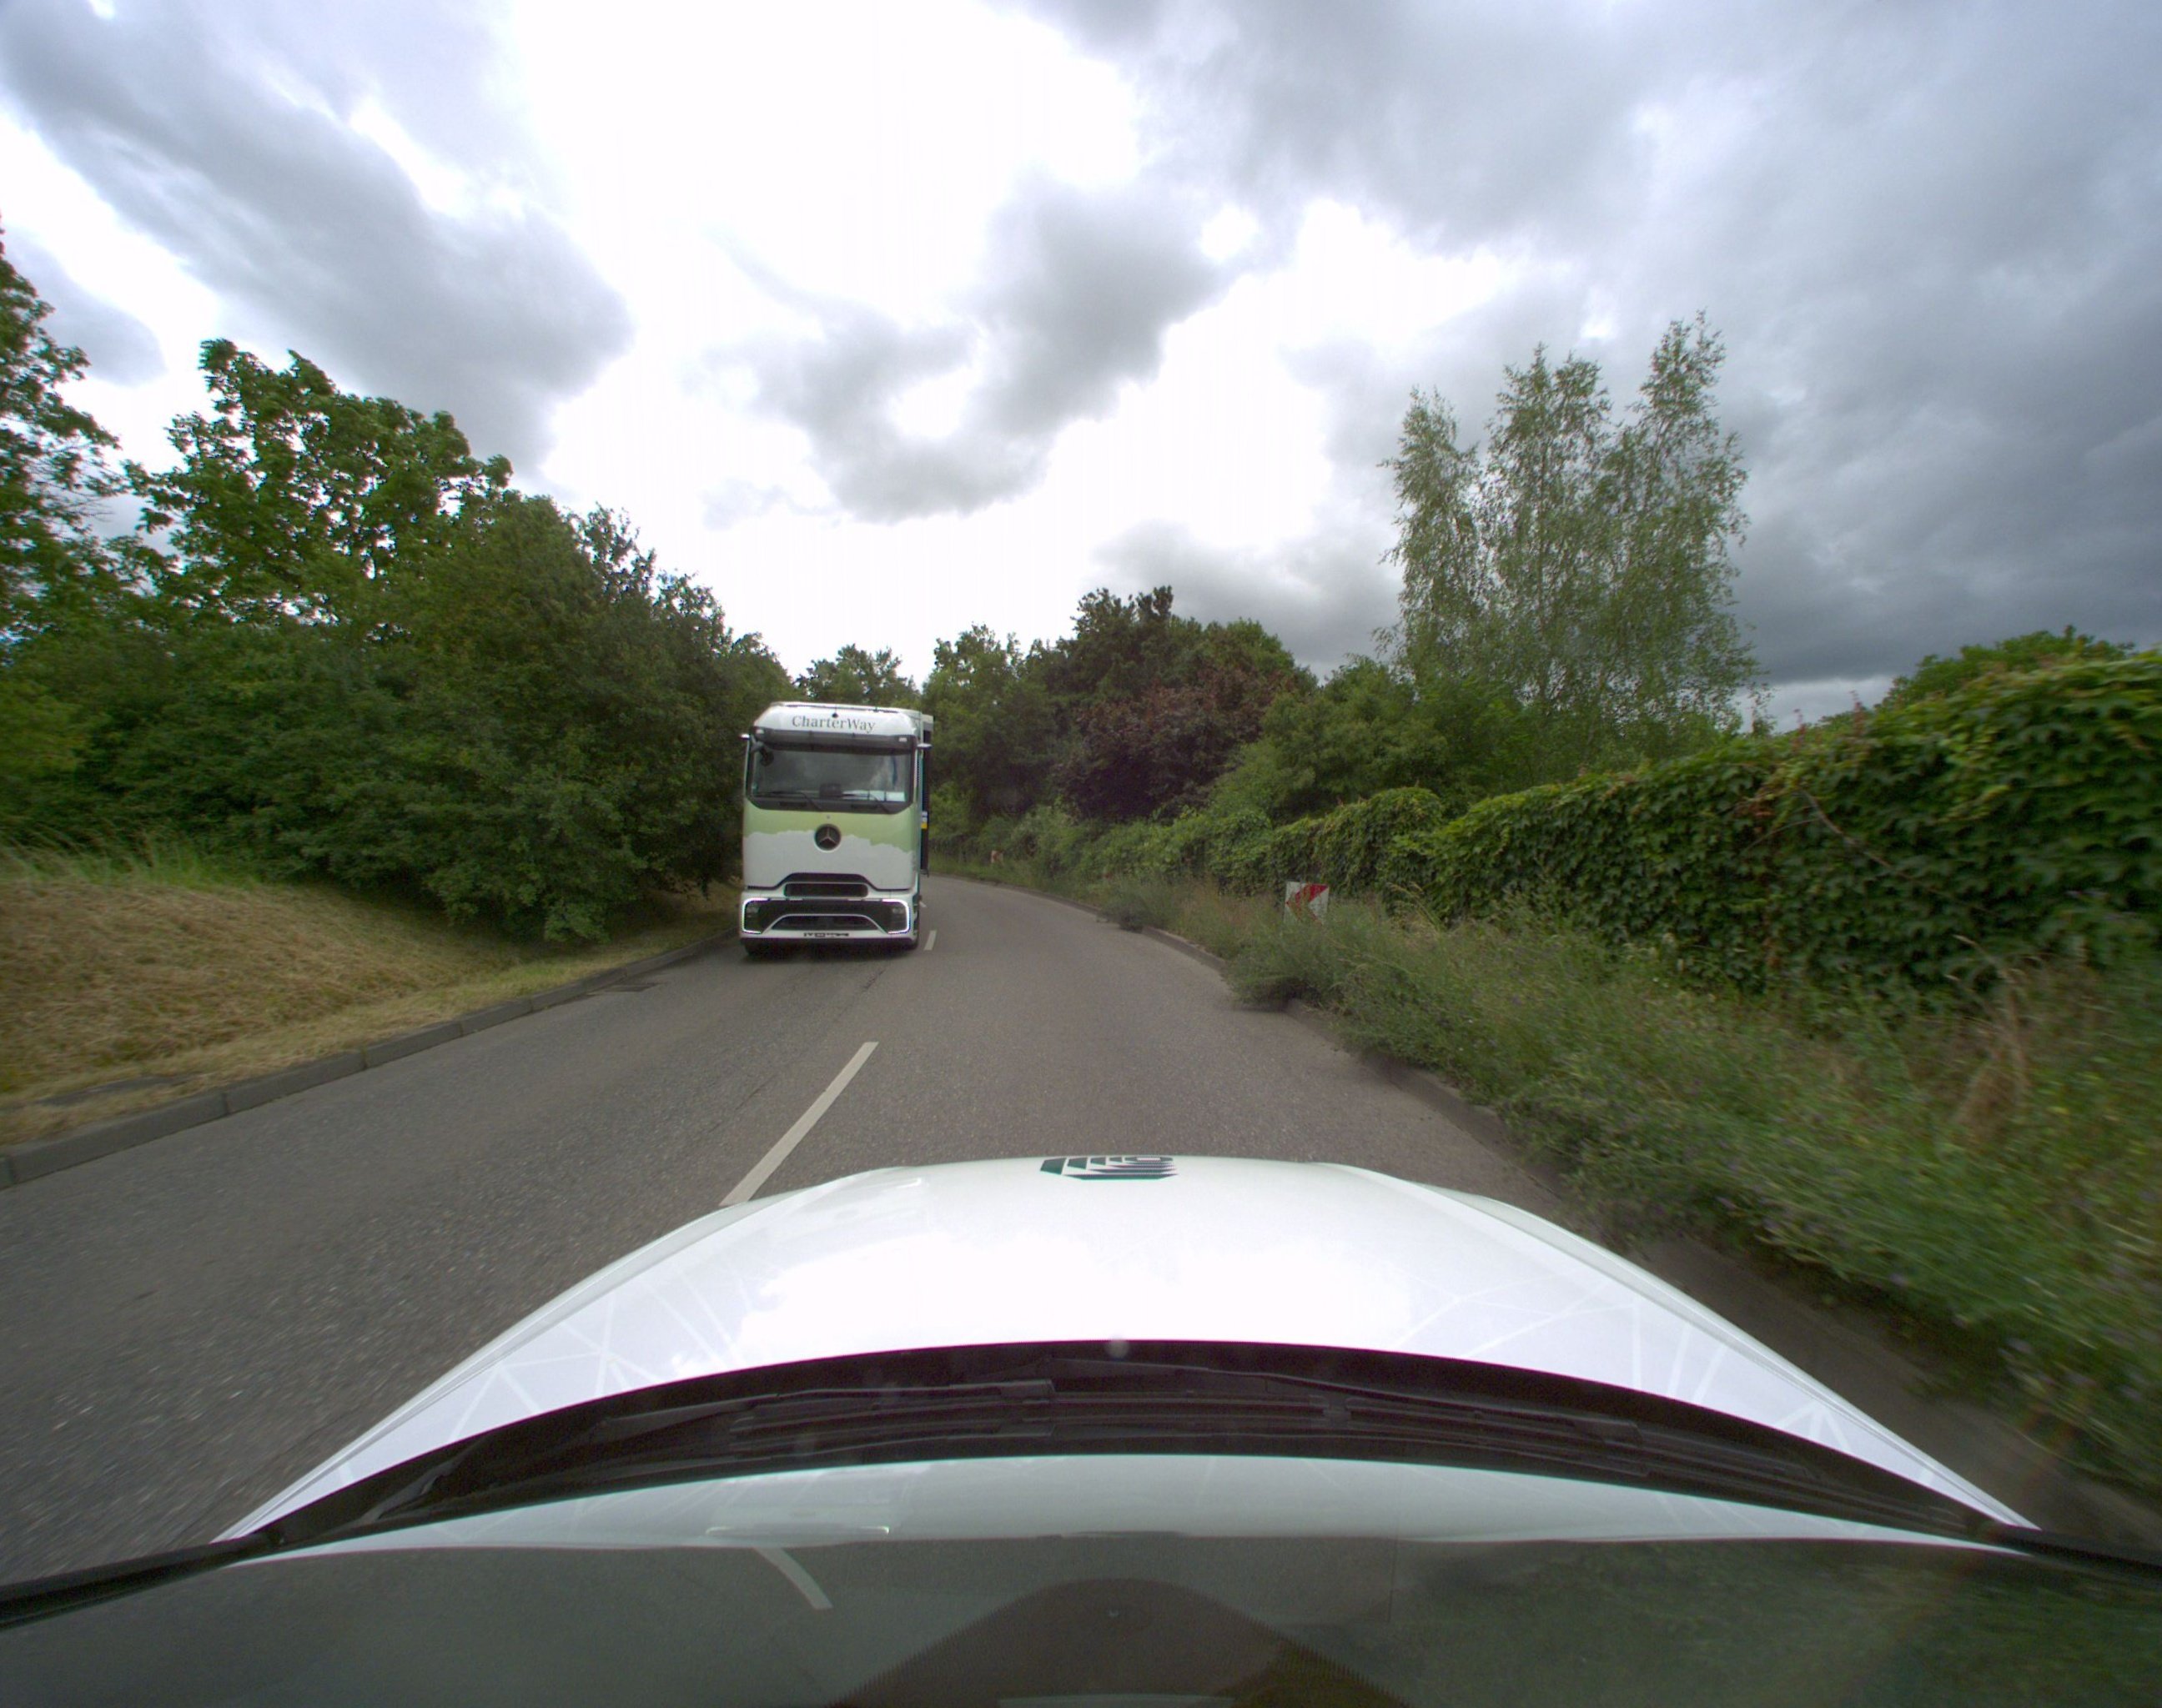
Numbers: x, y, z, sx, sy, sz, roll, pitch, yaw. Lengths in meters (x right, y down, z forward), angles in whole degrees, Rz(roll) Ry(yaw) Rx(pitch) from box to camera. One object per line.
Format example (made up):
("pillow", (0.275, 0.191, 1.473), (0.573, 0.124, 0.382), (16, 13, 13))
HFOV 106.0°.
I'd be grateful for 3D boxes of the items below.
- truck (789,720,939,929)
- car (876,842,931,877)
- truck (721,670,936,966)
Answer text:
("truck", (-5.343, -0.706, 22.462), (2.705, 3.949, 13.788), (-1, 1, -10))
("car", (-8.616, 0.310, 39.292), (1.848, 1.483, 3.969), (-3, -1, -23))
("truck", (-3.964, -0.559, 14.212), (2.705, 3.950, 6.308), (-1, 1, -10))
